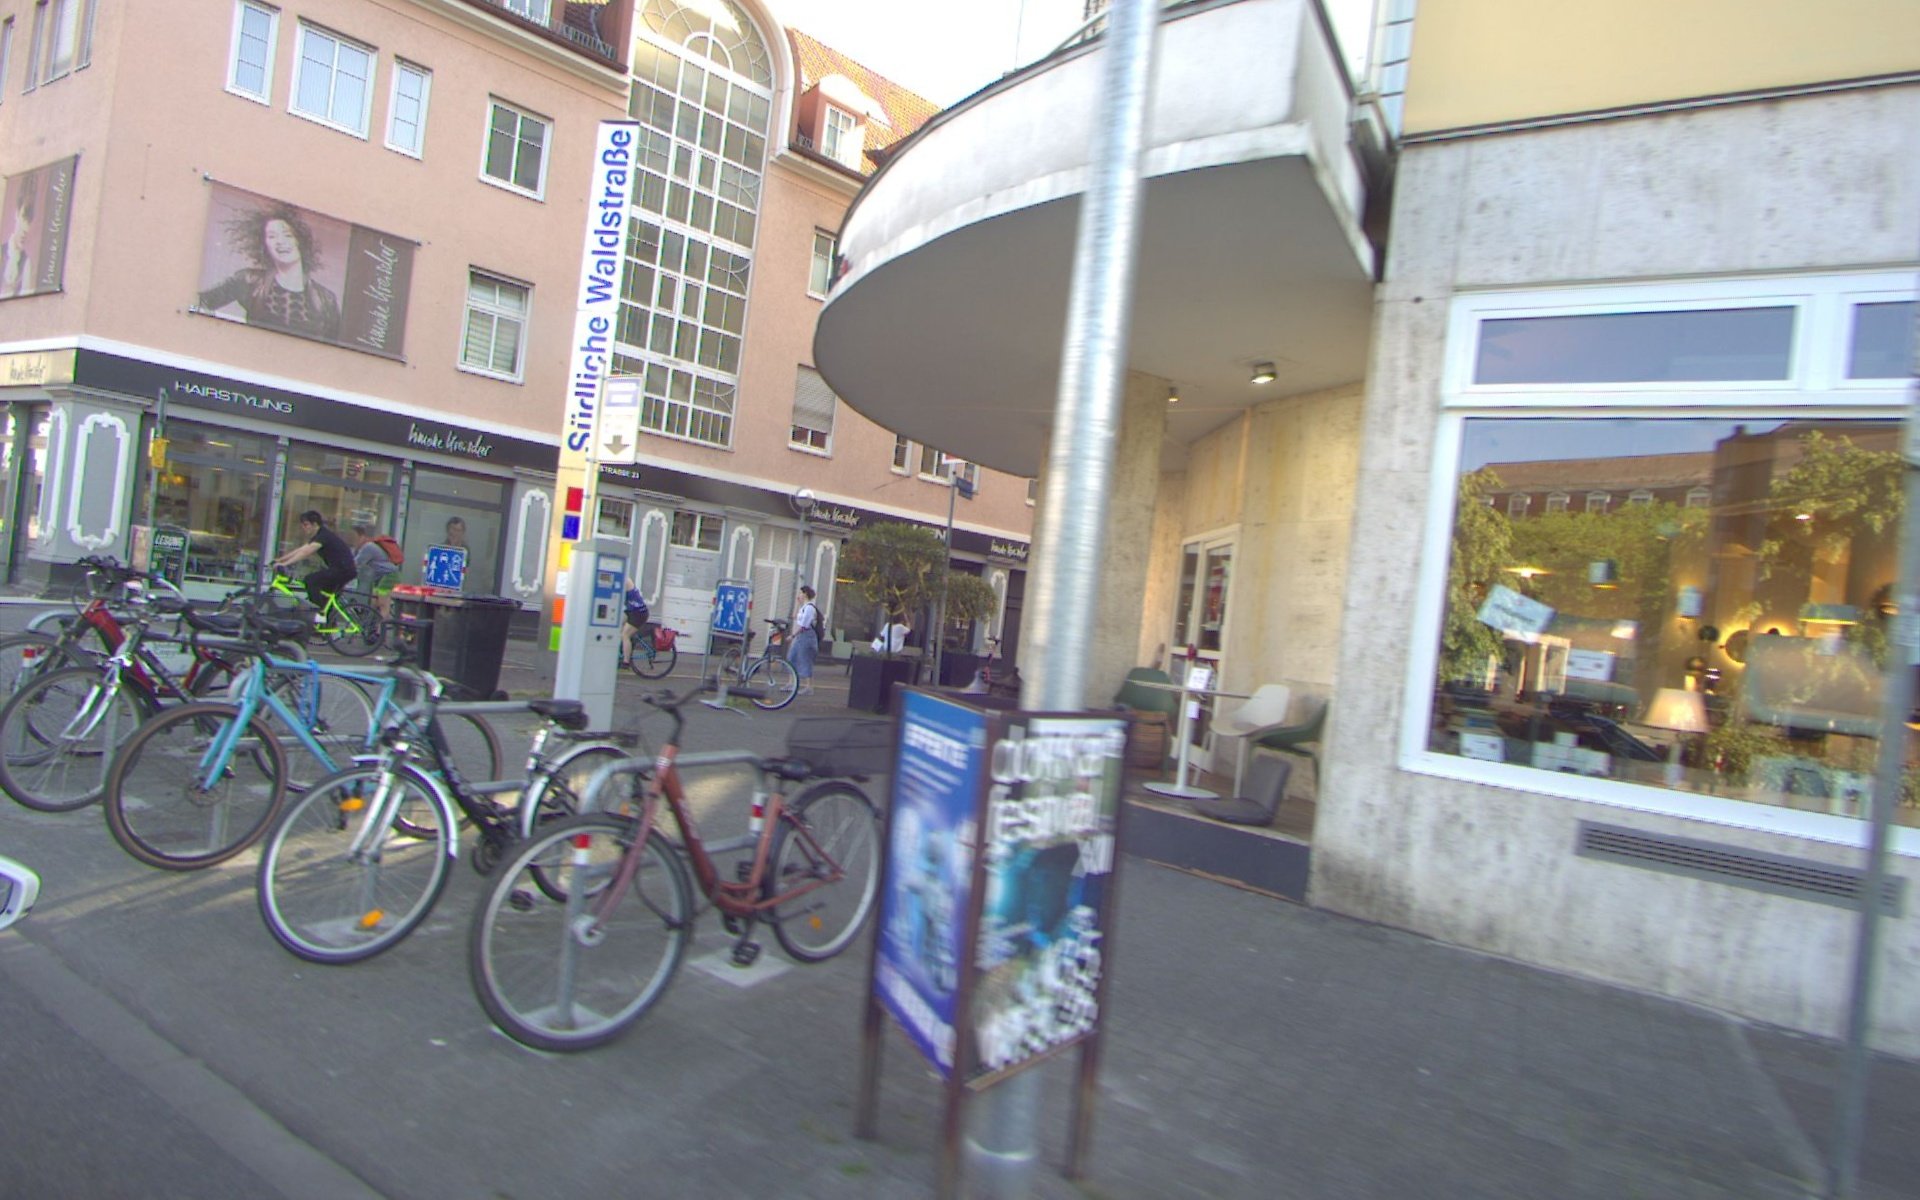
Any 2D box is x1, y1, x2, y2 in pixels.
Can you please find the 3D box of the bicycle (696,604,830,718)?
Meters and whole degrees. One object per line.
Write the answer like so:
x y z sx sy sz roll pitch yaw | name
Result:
-2.641 0.766 13.248 0.656 1.213 2.187 7 -1 -39 | bicycle

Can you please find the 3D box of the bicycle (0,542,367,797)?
-4.758 0.390 5.995 0.820 1.274 1.860 7 1 37 | bicycle

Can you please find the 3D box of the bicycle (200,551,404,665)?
-8.112 0.118 12.446 1.959 1.163 0.782 7 0 -40 | bicycle

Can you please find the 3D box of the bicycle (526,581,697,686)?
-5.008 0.494 14.502 2.154 1.237 0.676 8 -1 -27 | bicycle

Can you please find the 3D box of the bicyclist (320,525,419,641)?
-8.233 -0.233 14.026 0.942 1.467 0.797 7 0 -40 | bicyclist

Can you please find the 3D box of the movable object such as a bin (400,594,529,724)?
-4.631 0.562 9.426 0.617 1.105 0.754 7 -2 33 | movable object such as a bin

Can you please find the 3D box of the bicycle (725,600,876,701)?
-2.473 0.804 15.714 2.122 1.331 0.580 8 0 -30 | bicycle

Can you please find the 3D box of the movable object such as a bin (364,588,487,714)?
-5.168 0.501 9.744 0.617 1.105 0.734 7 -2 33 | movable object such as a bin

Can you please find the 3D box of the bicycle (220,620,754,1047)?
-1.818 0.807 4.113 0.778 1.284 1.721 7 1 37 | bicycle

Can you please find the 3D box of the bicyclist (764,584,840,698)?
-2.467 0.636 15.698 0.828 1.644 0.569 8 -1 -29 | bicyclist

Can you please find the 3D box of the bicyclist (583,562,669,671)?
-4.837 0.235 14.556 0.915 1.431 0.800 7 0 -28 | bicyclist

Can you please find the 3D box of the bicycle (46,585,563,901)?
-2.970 0.629 4.753 0.770 1.137 1.799 7 -1 37 | bicycle

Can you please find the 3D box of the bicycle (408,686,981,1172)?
-0.812 0.964 3.643 0.681 1.208 1.885 8 1 37 | bicycle

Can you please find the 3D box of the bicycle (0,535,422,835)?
-3.967 0.410 5.313 0.768 1.283 1.746 7 1 34 | bicycle

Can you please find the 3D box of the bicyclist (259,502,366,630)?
-8.021 -0.419 12.463 0.919 1.431 0.797 7 0 -39 | bicyclist

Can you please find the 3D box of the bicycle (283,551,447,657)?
-8.272 0.073 14.025 1.786 1.237 0.673 8 -1 -40 | bicycle

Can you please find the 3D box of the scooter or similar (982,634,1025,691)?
1.041 1.488 24.016 0.868 1.260 0.390 7 0 6 | scooter or similar

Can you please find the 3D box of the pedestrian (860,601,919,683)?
-1.440 0.859 20.575 0.689 1.570 0.746 7 -1 43 | pedestrian
